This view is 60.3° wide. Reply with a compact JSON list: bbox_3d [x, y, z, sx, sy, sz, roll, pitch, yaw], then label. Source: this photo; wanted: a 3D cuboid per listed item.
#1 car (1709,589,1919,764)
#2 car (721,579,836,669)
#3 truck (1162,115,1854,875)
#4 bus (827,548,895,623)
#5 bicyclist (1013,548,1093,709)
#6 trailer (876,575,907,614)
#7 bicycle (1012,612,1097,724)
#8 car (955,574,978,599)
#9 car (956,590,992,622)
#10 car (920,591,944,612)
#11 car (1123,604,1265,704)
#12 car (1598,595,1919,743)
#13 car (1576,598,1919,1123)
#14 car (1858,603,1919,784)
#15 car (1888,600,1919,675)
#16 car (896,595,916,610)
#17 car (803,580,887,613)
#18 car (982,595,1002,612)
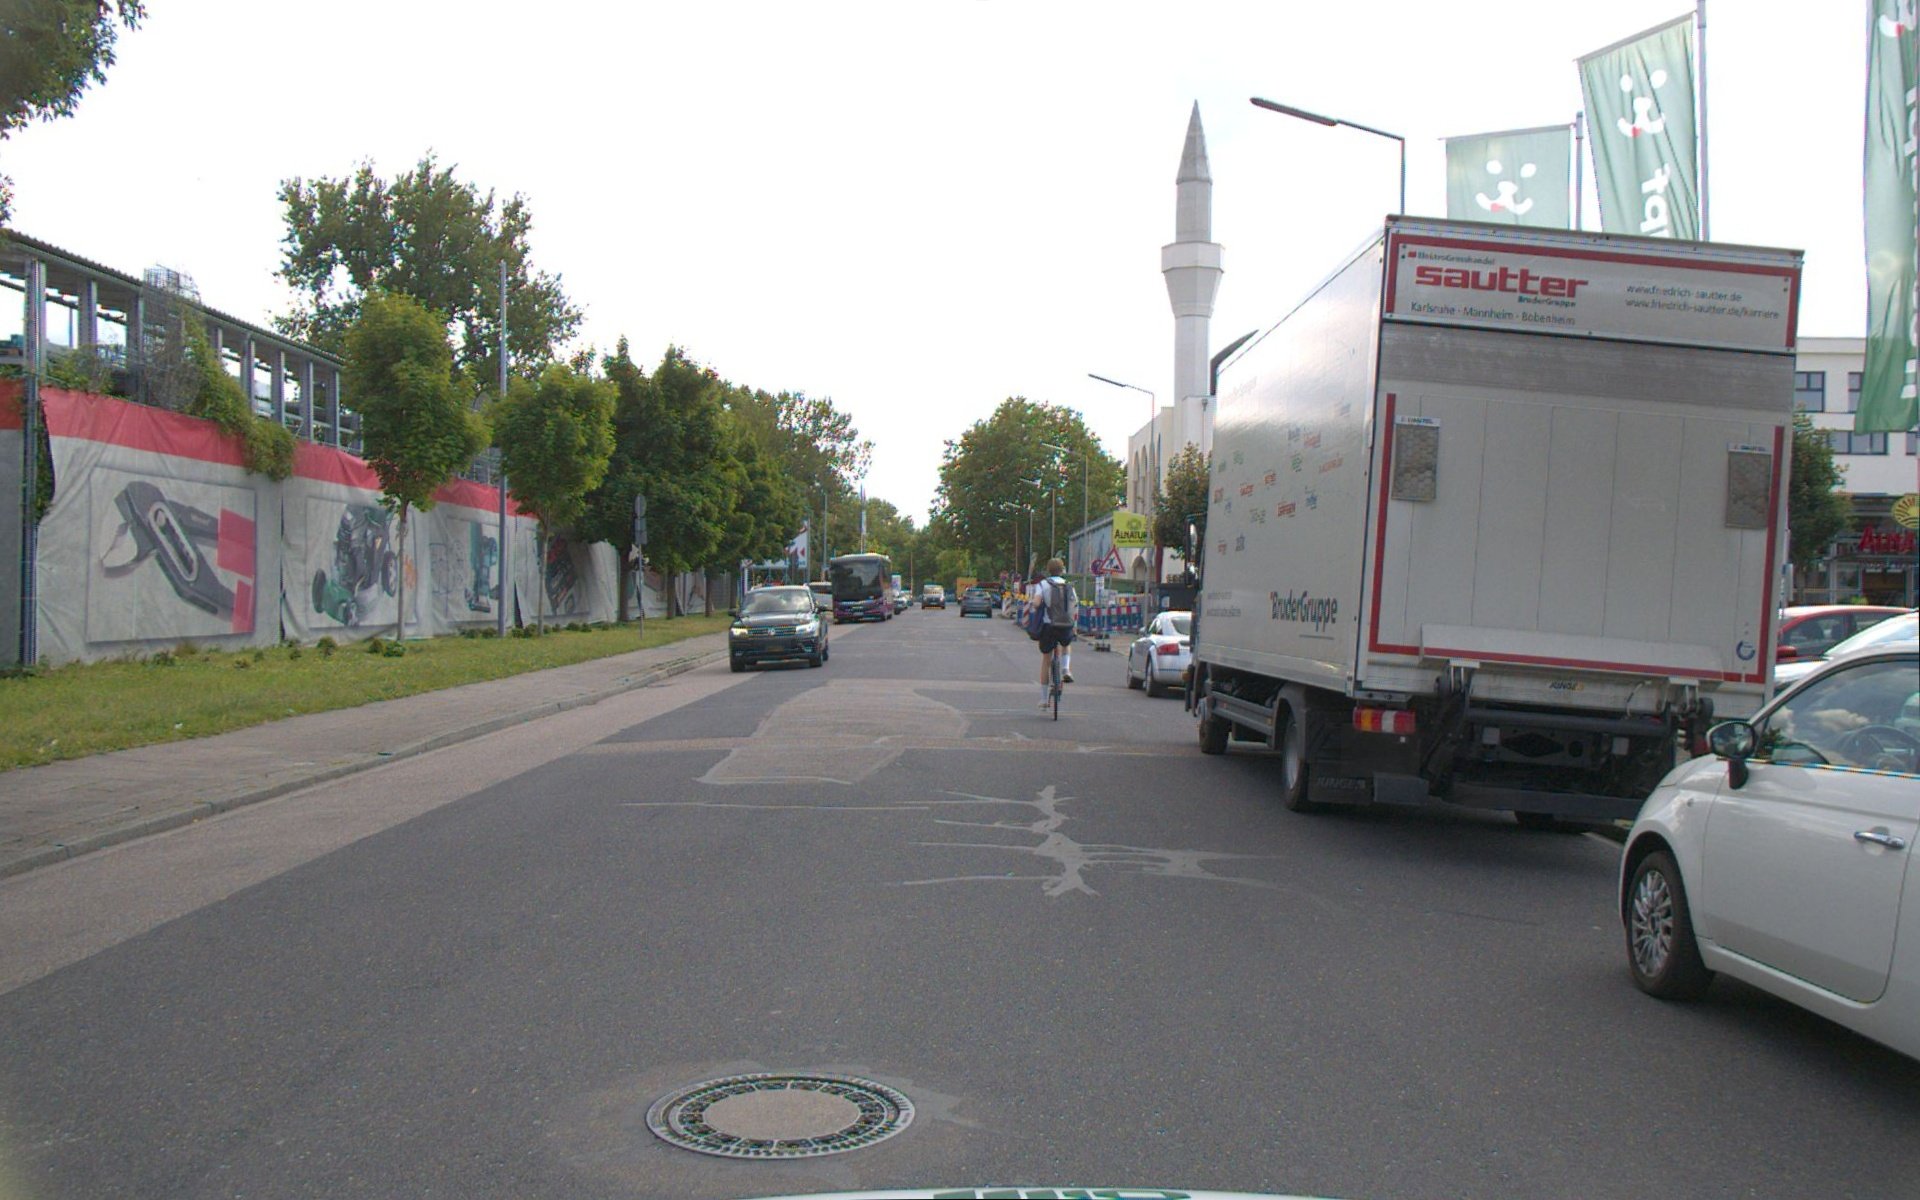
[{"bbox_3d":[9.705,0.679,15.983,4.203,1.569,1.747,0,0,-6],"label":"car"},{"bbox_3d":[-3.686,0.451,34.216,1.836,1.648,4.293,-3,0,0],"label":"car"},{"bbox_3d":[3.645,-0.614,13.602,2.722,4.187,8.278,3,0,0],"label":"truck"},{"bbox_3d":[-5.003,-0.717,85.872,2.609,3.482,13.217,-3,0,0],"label":"bus"},{"bbox_3d":[1.099,0.335,19.723,0.790,1.824,1.207,3,-1,-1],"label":"bicyclist"},{"bbox_3d":[-5.182,-0.406,125.781,2.096,2.832,4.702,-1,0,-1],"label":"trailer"},{"bbox_3d":[1.093,0.769,19.719,0.782,1.201,2.626,2,0,-1],"label":"bicycle"},{"bbox_3d":[0.722,-1.430,178.772,2.154,2.623,6.401,1,0,-2],"label":"car"},{"bbox_3d":[0.787,0.328,97.426,1.922,1.847,4.274,1,0,-2],"label":"car"},{"bbox_3d":[-2.241,0.134,133.037,1.830,1.658,4.126,0,0,-1],"label":"car"},{"bbox_3d":[3.754,0.822,27.082,1.628,1.363,3.984,4,0,-1],"label":"car"},{"bbox_3d":[9.380,0.727,18.536,3.808,1.549,1.747,0,0,-6],"label":"car"},{"bbox_3d":[3.603,0.815,5.606,1.514,1.537,3.625,3,0,-2],"label":"car"},{"bbox_3d":[9.690,0.755,13.536,3.808,1.457,1.747,0,0,-6],"label":"car"},{"bbox_3d":[21.361,0.752,33.700,3.977,1.510,1.724,0,0,-3],"label":"car"},{"bbox_3d":[-5.250,0.236,161.364,1.674,1.445,4.332,-2,0,1],"label":"car"},{"bbox_3d":[-7.060,-0.214,102.027,4.895,1.983,1.993,1,0,5],"label":"car"},{"bbox_3d":[2.926,0.301,151.512,1.771,1.415,4.588,3,0,1],"label":"car"}]
